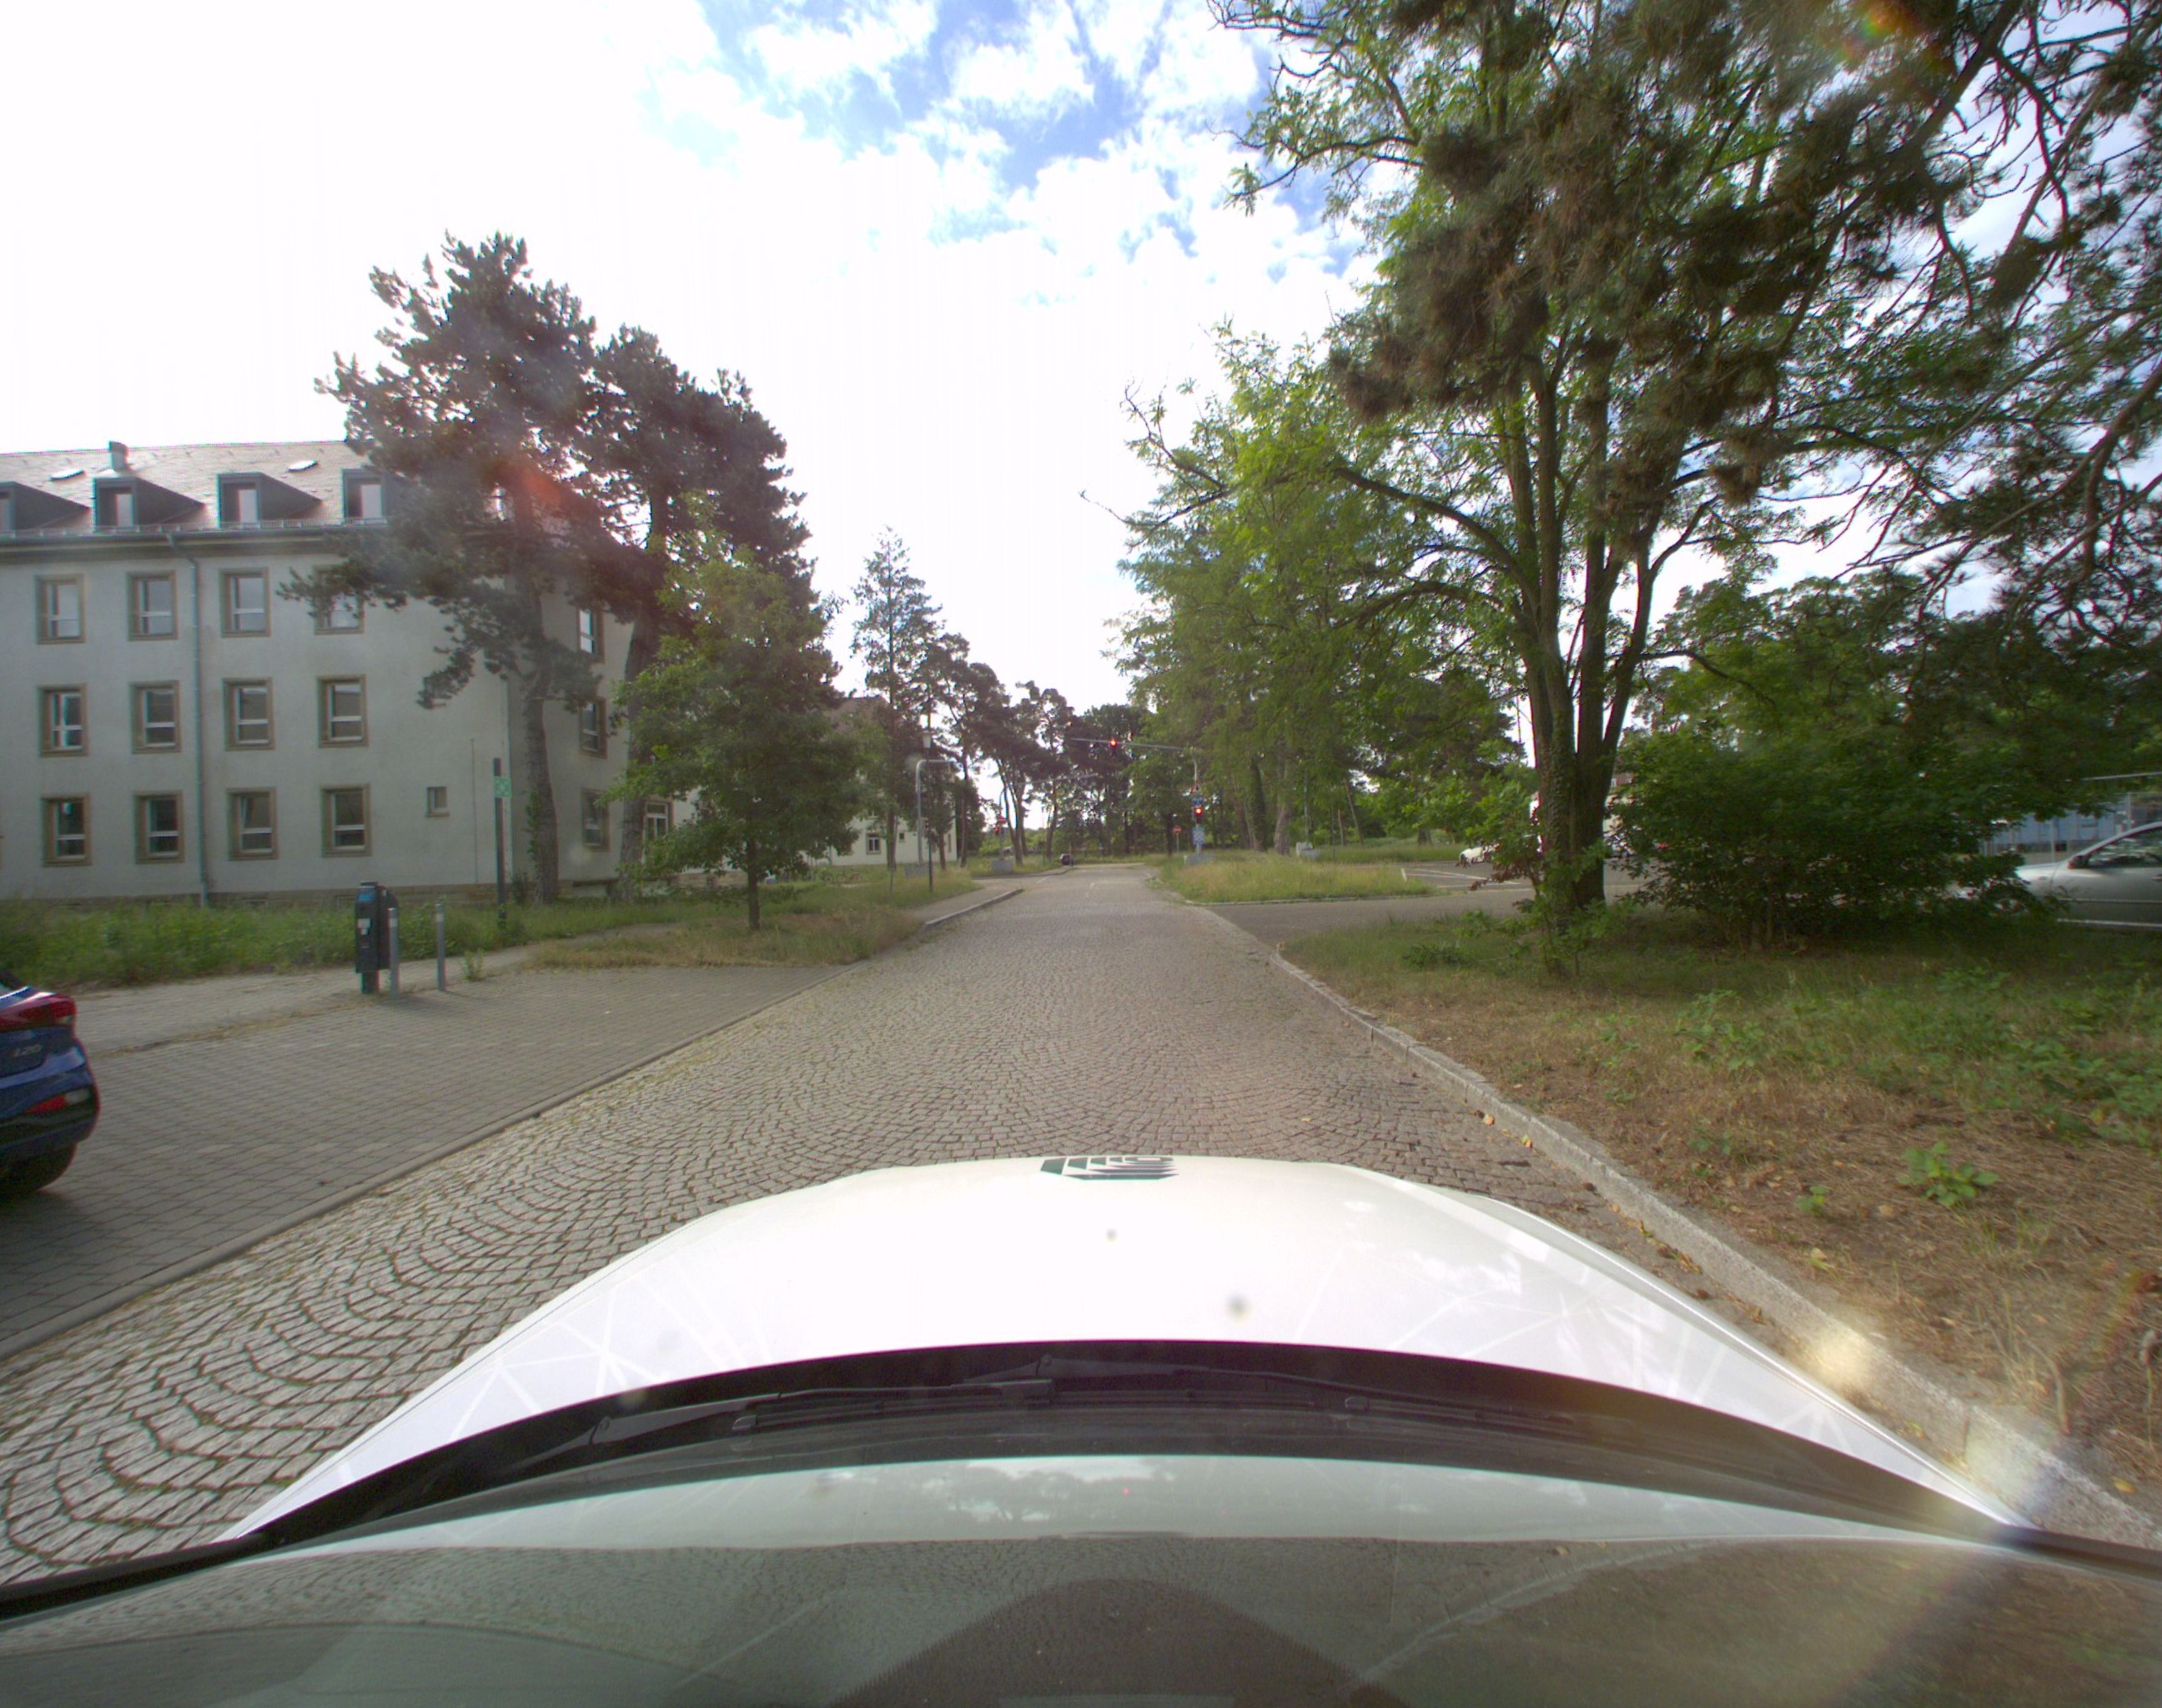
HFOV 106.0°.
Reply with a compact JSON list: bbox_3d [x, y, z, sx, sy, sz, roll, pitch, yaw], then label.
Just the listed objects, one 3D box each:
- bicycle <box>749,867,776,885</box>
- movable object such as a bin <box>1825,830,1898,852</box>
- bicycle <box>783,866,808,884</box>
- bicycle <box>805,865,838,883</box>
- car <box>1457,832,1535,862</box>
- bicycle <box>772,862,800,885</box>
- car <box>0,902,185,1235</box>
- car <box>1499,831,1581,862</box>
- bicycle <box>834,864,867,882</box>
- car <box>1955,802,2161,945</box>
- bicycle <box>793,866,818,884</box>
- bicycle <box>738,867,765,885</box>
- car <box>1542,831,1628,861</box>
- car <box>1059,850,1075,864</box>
[{"bbox_3d":[-21.003,1.423,53.737,0.733,1.076,2.274,-2,0,2],"label":"bicycle"},{"bbox_3d":[31.411,-0.521,32.835,1.179,0.825,1.957,-2,0,6],"label":"movable object such as a bin"},{"bbox_3d":[-18.817,1.388,53.714,0.733,1.076,2.274,-2,0,2],"label":"bicycle"},{"bbox_3d":[-16.735,1.301,52.493,1.848,1.076,0.739,-2,0,3],"label":"bicycle"},{"bbox_3d":[23.017,-0.347,45.396,1.988,1.481,4.422,-2,-1,-2],"label":"car"},{"bbox_3d":[-19.551,1.266,54.087,0.733,1.385,2.713,-2,0,2],"label":"bicycle"},{"bbox_3d":[-6.833,1.026,3.640,3.748,1.478,1.854,-1,0,4],"label":"car"},{"bbox_3d":[25.532,-0.375,45.517,1.988,1.481,4.422,-2,-1,-2],"label":"car"},{"bbox_3d":[-14.852,1.244,52.488,1.848,1.076,0.832,-2,0,3],"label":"bicycle"},{"bbox_3d":[11.544,0.203,7.985,1.640,1.427,4.073,1,0,1],"label":"car"},{"bbox_3d":[-18.174,1.359,53.779,0.733,1.076,2.274,-2,0,2],"label":"bicycle"},{"bbox_3d":[-21.731,1.445,53.826,0.733,1.076,2.274,-2,0,2],"label":"bicycle"},{"bbox_3d":[28.202,-0.405,45.747,1.988,1.481,4.422,-2,-1,-2],"label":"car"},{"bbox_3d":[-1.865,0.365,109.557,2.048,1.846,4.001,-2,0,1],"label":"car"}]
